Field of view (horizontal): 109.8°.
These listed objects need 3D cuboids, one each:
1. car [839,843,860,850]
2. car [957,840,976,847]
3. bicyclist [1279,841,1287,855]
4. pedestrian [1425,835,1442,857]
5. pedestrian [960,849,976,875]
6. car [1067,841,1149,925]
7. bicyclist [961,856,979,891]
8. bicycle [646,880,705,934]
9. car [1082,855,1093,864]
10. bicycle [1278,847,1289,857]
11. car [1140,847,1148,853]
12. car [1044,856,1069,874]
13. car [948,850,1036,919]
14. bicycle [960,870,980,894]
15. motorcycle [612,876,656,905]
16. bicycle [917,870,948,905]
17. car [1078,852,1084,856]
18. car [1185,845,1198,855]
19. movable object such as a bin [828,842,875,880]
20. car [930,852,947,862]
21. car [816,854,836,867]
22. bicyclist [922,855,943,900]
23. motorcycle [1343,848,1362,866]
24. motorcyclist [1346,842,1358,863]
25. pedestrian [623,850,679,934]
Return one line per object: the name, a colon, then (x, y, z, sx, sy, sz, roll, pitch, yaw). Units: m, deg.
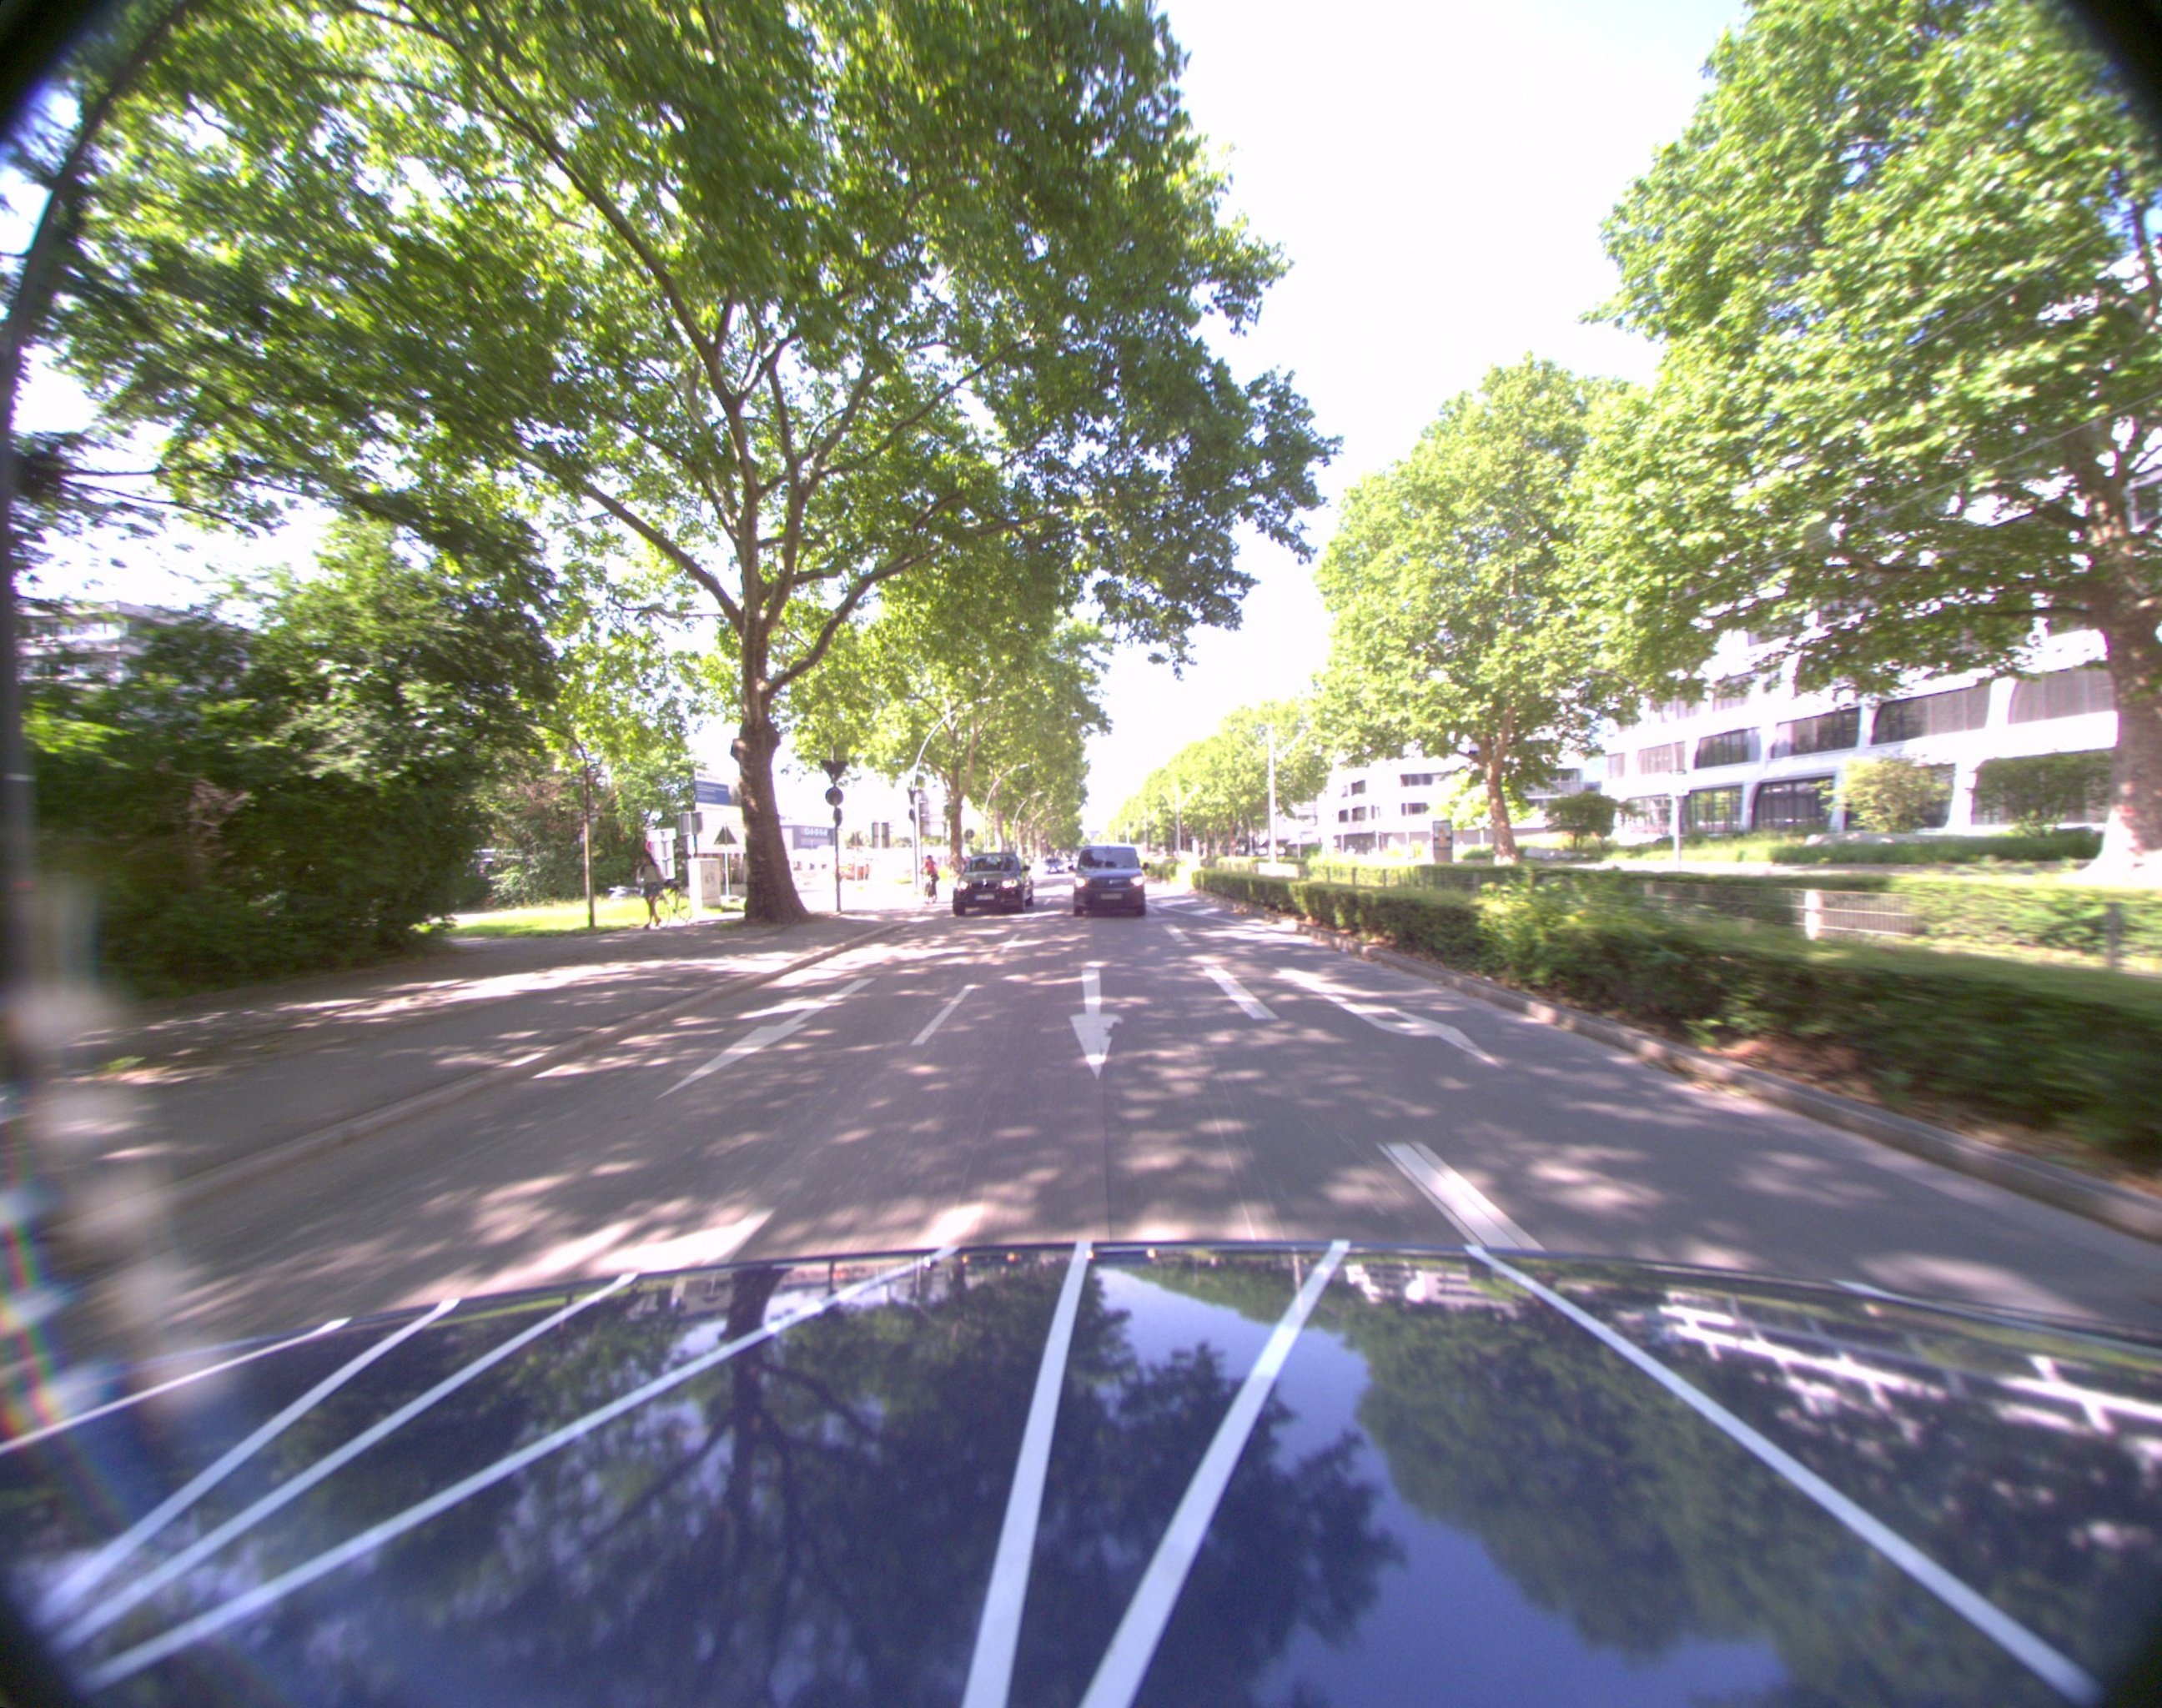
car: (-52.548, -1.642, 172.559, 3.998, 1.501, 1.808, -2, 0, -2)
car: (-26.050, -2.372, 172.909, 3.998, 1.501, 1.808, -2, 0, -2)
bicyclist: (22.659, -0.646, 85.071, 0.656, 1.526, 0.641, -2, 1, 2)
pedestrian: (25.886, -0.597, 55.836, 0.722, 1.579, 1.015, -3, 1, 1)
pedestrian: (-8.424, 0.561, 56.665, 0.941, 1.881, 1.151, -2, 1, 1)
car: (0.674, 0.643, 18.986, 1.789, 1.839, 4.000, -1, 0, 2)
bicyclist: (-4.795, 0.825, 32.841, 0.600, 1.481, 1.215, 1, 0, -1)
bicycle: (-9.135, 1.170, 17.178, 0.350, 1.075, 1.699, -3, 1, 1)
car: (1.284, 1.028, 138.419, 1.854, 1.419, 4.152, -3, 0, 2)
bicycle: (22.686, -0.259, 85.096, 0.665, 1.118, 2.031, -3, 1, 1)
car: (17.942, -1.116, 216.447, 1.820, 1.482, 3.912, 0, 0, -1)
car: (-2.104, 0.947, 65.763, 1.854, 1.419, 4.152, -3, 0, 2)
car: (-2.486, 0.807, 22.243, 1.924, 1.720, 4.151, -3, 0, 1)
bicycle: (-4.797, 1.215, 32.916, 0.599, 0.974, 1.781, 0, 0, -1)
motorcycle: (-15.715, 1.271, 26.734, 1.223, 0.962, 0.471, -2, 1, -6)
bicycle: (-5.212, 1.163, 26.745, 0.653, 1.123, 1.945, -1, 1, 0)
car: (0.084, 0.007, 251.547, 1.860, 1.445, 3.999, -2, 0, -1)
car: (19.010, -0.702, 130.728, 1.761, 1.560, 4.019, -3, 0, 1)
movable object such as a bin: (-19.949, 0.571, 66.408, 2.375, 3.054, 5.984, -3, 0, -2)
car: (-37.056, 0.825, 197.612, 3.998, 2.308, 1.808, -2, 0, -2)
car: (-59.090, 1.467, 176.295, 3.998, 2.723, 1.808, -2, 1, -2)
bicyclist: (-5.231, 0.819, 26.802, 0.621, 1.591, 0.732, 0, 1, -1)
motorcycle: (19.149, 0.204, 53.579, 0.634, 1.168, 2.000, -2, 0, 1)
motorcyclist: (19.126, -0.093, 53.626, 0.582, 1.449, 0.533, -2, 1, 1)
pedestrian: (-9.535, 0.820, 16.870, 0.633, 1.775, 0.874, -3, 1, 1)
